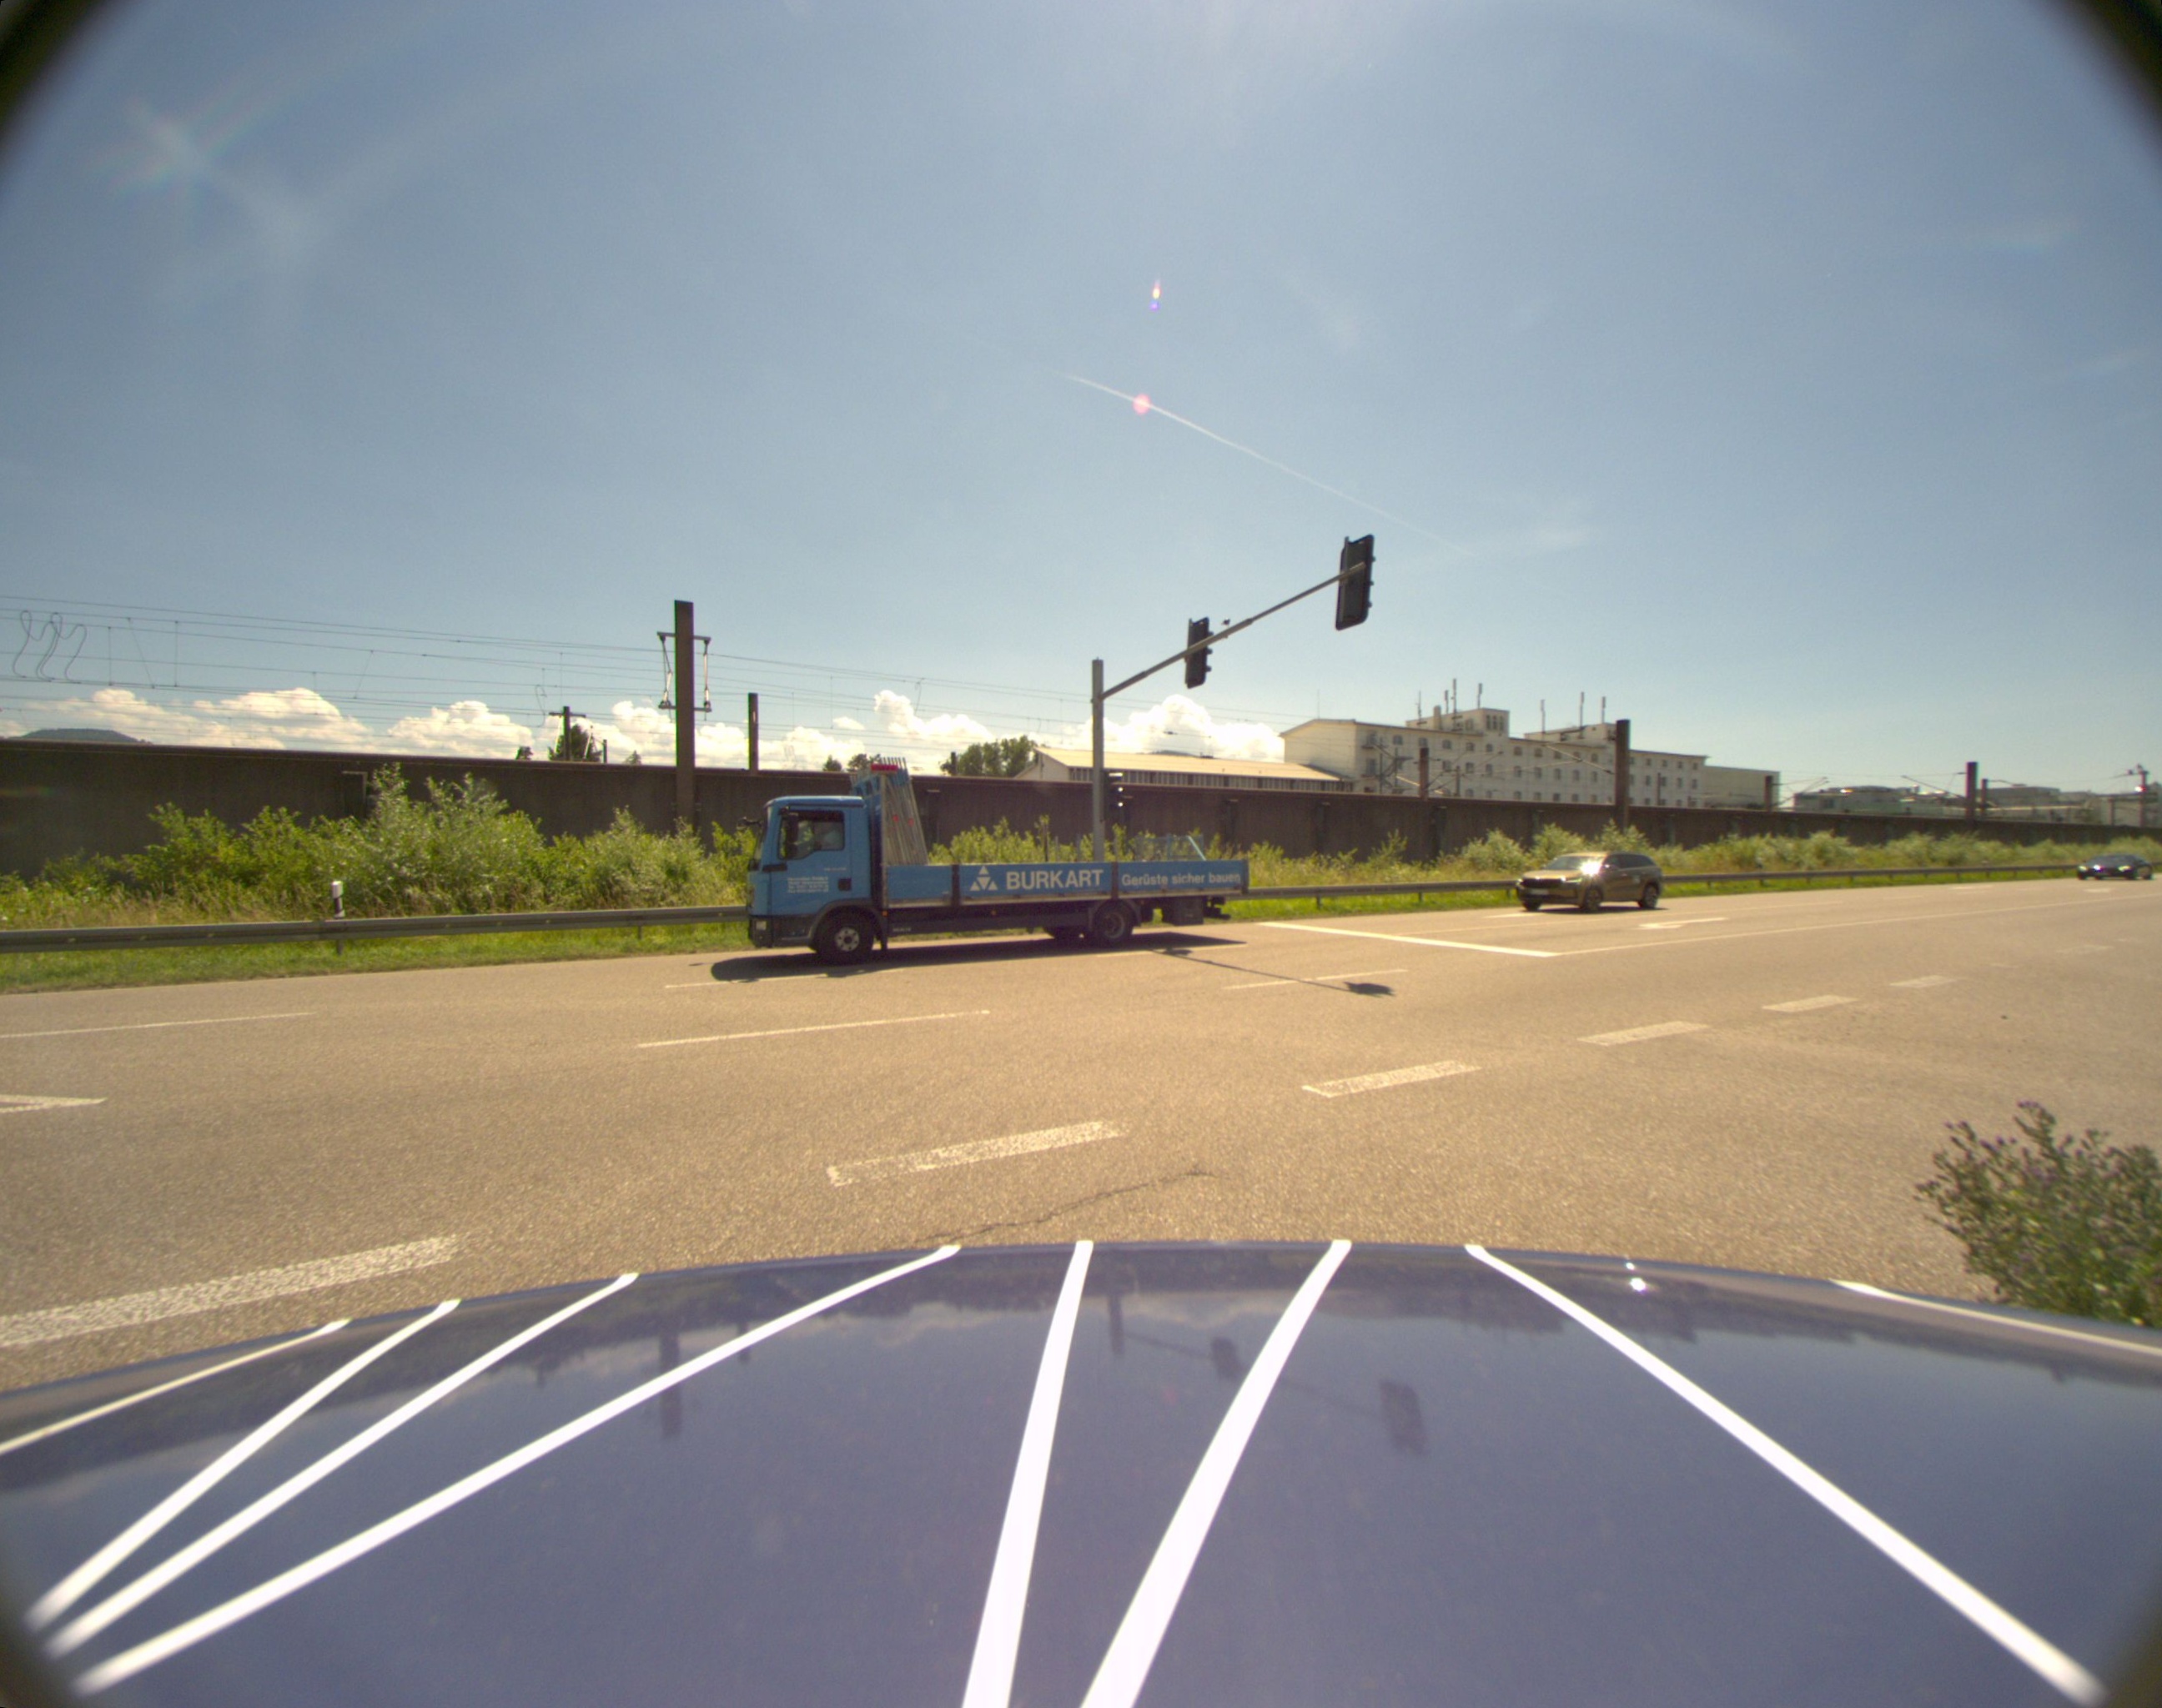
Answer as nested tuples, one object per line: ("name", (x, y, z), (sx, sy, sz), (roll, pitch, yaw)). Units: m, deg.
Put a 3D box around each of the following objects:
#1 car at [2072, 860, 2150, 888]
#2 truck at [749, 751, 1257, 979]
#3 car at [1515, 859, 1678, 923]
("car", (56.382, 1.083, 41.580), (4.524, 1.446, 1.785), (0, 0, -26))
("truck", (-1.188, 0.188, 13.678), (8.637, 3.131, 2.916), (0, 0, -27))
("car", (14.524, 0.977, 21.368), (4.630, 1.618, 1.701), (0, 1, -26))
